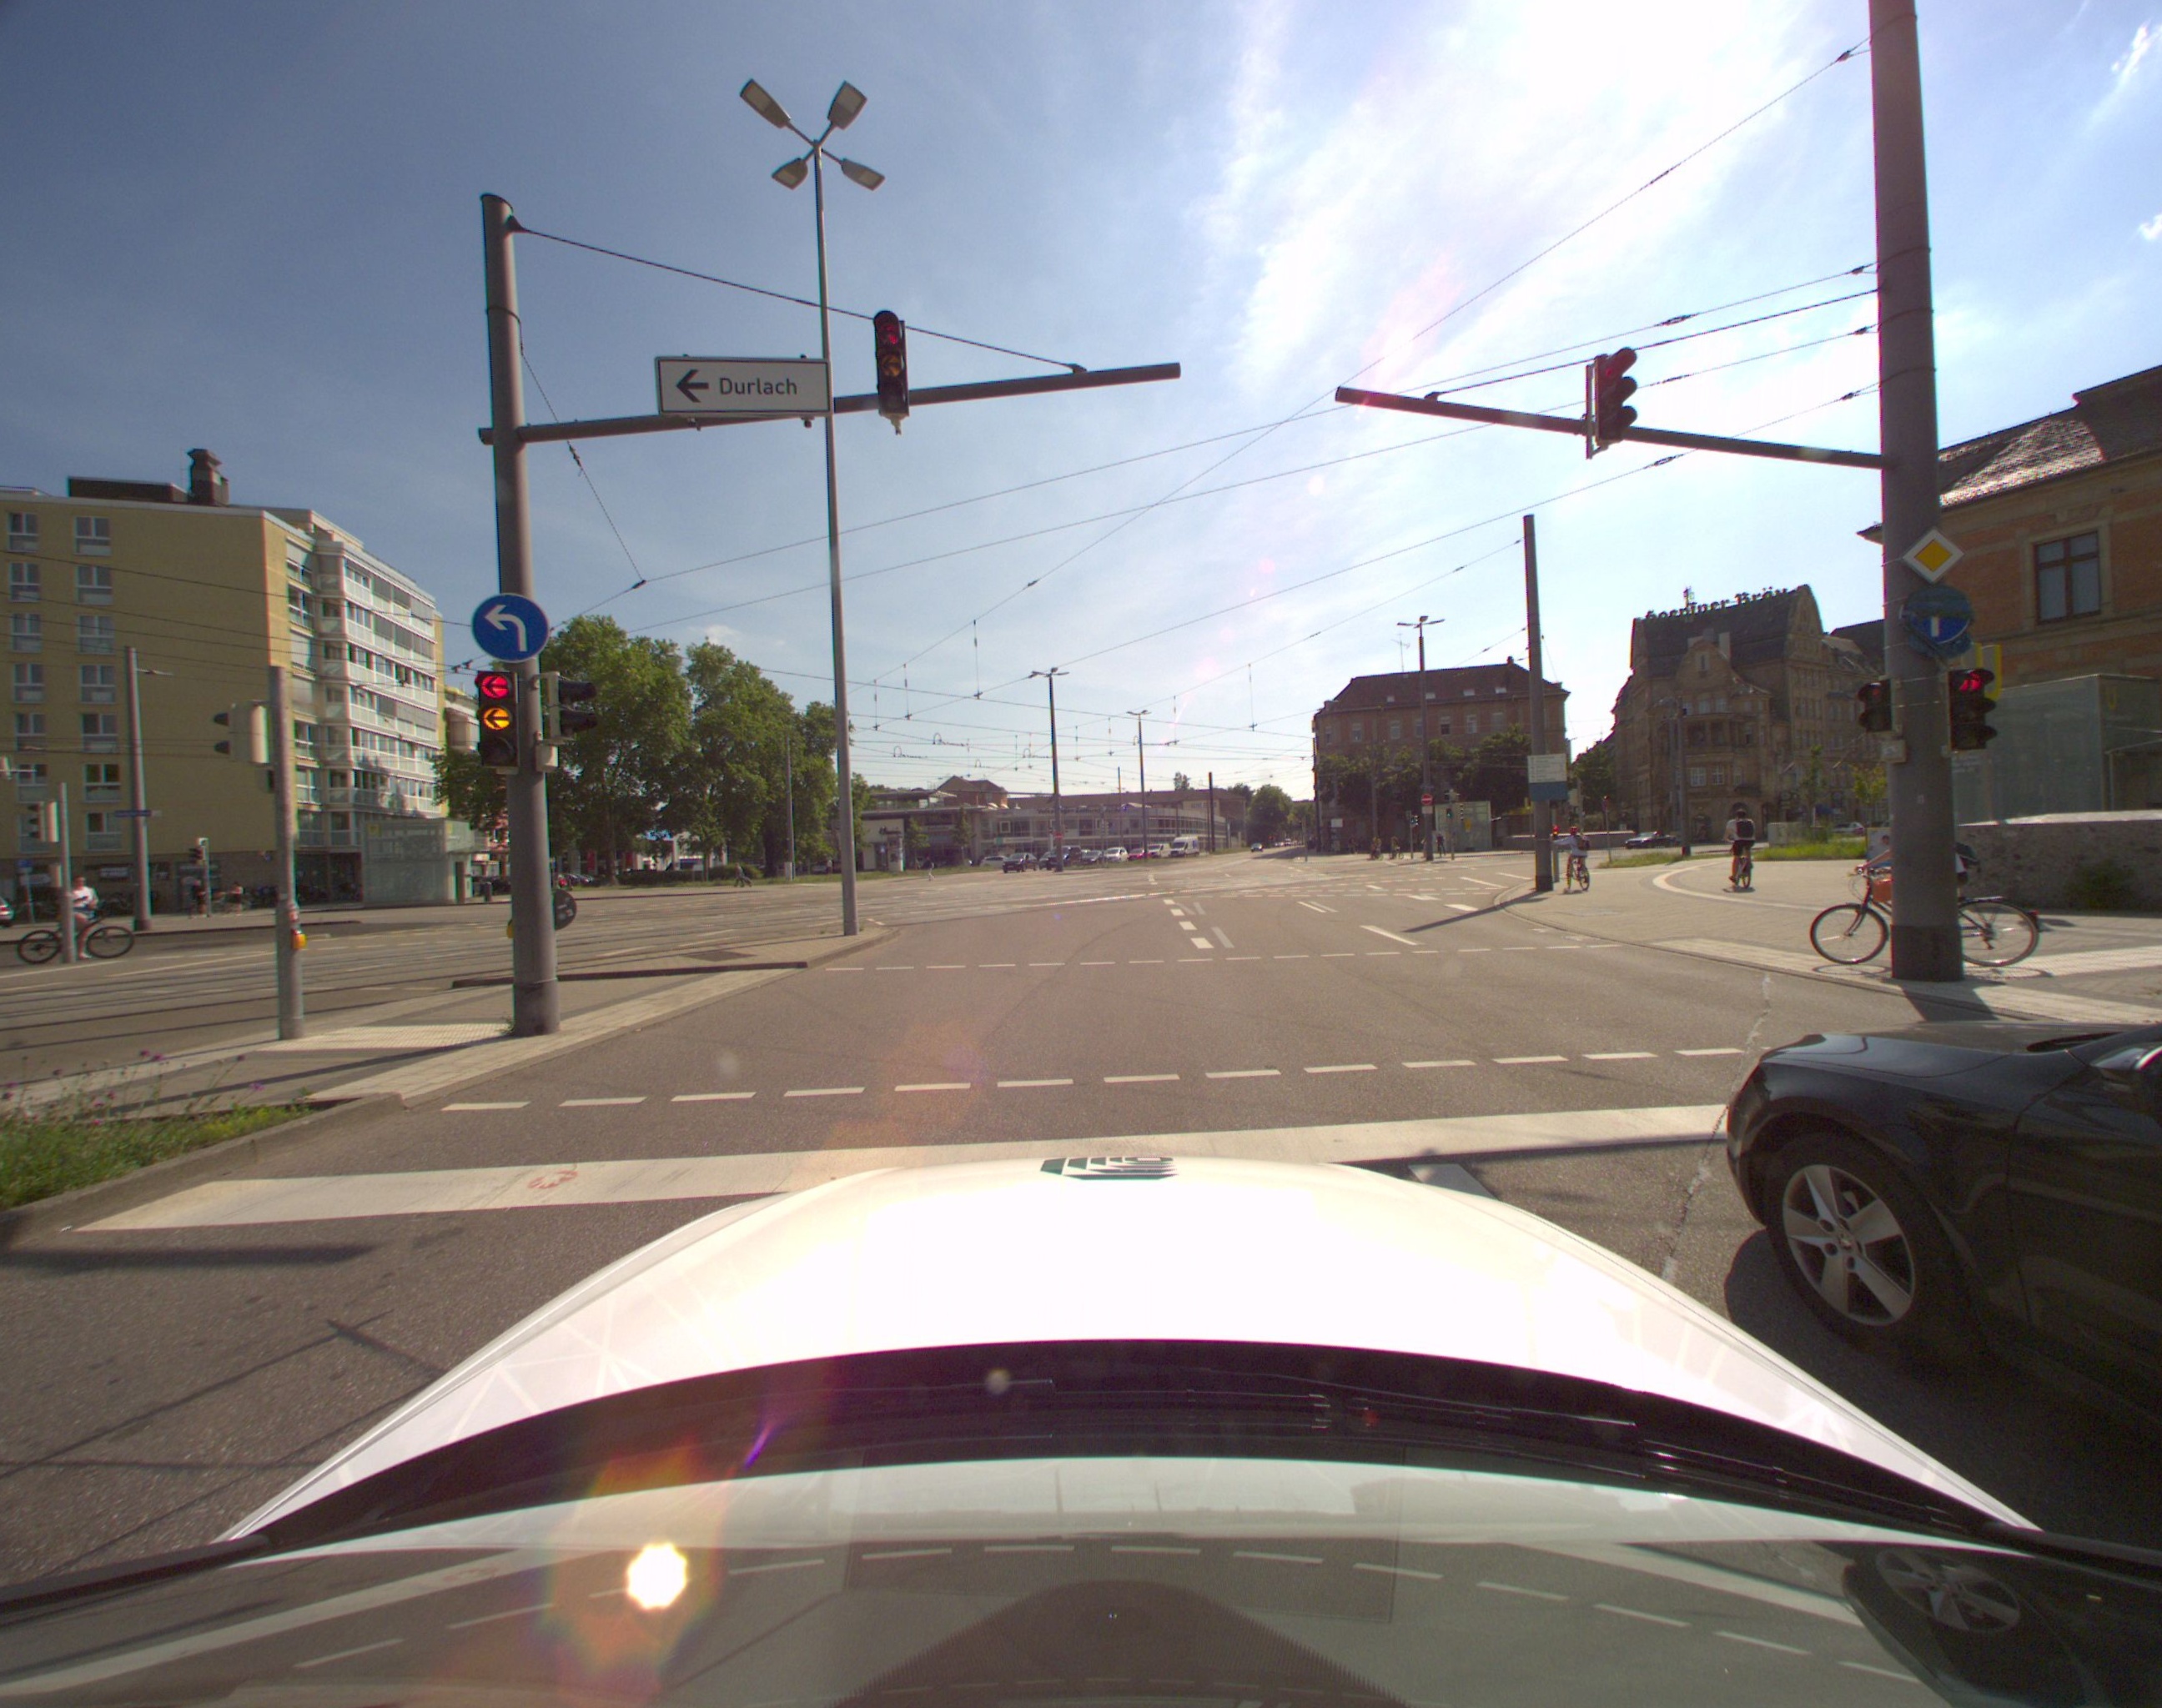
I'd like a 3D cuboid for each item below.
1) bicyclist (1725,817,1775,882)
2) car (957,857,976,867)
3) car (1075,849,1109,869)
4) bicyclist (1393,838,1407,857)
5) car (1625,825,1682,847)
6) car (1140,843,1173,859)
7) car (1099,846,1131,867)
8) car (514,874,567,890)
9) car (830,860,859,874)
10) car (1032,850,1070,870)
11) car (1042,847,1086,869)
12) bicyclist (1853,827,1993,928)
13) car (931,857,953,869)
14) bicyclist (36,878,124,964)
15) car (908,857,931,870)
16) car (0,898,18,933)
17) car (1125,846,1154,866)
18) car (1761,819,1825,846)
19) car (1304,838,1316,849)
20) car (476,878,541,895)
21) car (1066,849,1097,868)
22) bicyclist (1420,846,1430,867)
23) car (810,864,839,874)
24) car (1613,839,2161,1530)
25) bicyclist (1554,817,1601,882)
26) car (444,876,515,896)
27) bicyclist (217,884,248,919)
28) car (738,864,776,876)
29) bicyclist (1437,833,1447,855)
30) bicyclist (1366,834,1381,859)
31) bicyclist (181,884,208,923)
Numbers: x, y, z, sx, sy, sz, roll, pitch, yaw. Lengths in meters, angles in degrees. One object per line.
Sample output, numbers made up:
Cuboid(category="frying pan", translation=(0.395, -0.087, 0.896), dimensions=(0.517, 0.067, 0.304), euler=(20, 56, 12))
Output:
Cuboid(category="bicyclist", translation=(15.811, -0.093, 19.268), dimensions=(0.707, 1.488, 0.955), euler=(-1, -1, 26))
Cuboid(category="car", translation=(-14.097, 0.963, 100.494), dimensions=(1.824, 1.195, 4.000), euler=(0, 0, 1))
Cuboid(category="car", translation=(0.994, 0.460, 71.284), dimensions=(1.880, 1.588, 4.017), euler=(-3, -1, 16))
Cuboid(category="bicyclist", translation=(24.020, -0.483, 61.311), dimensions=(0.918, 1.451, 1.258), euler=(-1, 1, 21))
Cuboid(category="car", translation=(45.356, -1.407, 64.487), dimensions=(3.998, 1.584, 1.628), euler=(-2, 0, -18))
Cuboid(category="car", translation=(8.604, -0.321, 92.439), dimensions=(2.165, 1.680, 5.058), euler=(-3, 0, 24))
Cuboid(category="car", translation=(3.278, 0.283, 78.528), dimensions=(1.879, 1.917, 4.220), euler=(-3, -1, 19))
Cuboid(category="car", translation=(-49.706, 2.586, 74.977), dimensions=(3.729, 1.340, 1.735), euler=(0, -1, -15))
Cuboid(category="car", translation=(-29.628, 1.627, 102.119), dimensions=(1.983, 1.684, 4.008), euler=(0, -1, 7))
Cuboid(category="car", translation=(-2.574, 0.524, 71.018), dimensions=(1.879, 1.588, 4.019), euler=(-3, -1, 19))
Cuboid(category="car", translation=(-1.291, 0.315, 64.785), dimensions=(1.945, 1.587, 4.739), euler=(-2, 0, 19))
Cuboid(category="bicyclist", translation=(9.316, 0.260, 9.057), dimensions=(0.904, 1.029, 0.721), euler=(-5, -1, 35))
Cuboid(category="car", translation=(-17.258, 1.109, 100.958), dimensions=(1.987, 1.486, 4.000), euler=(0, 0, 0))
Cuboid(category="bicyclist", translation=(-20.922, 1.373, 17.038), dimensions=(0.774, 1.684, 0.749), euler=(-4, 0, -9))
Cuboid(category="car", translation=(-20.029, 1.184, 101.053), dimensions=(1.987, 1.486, 4.000), euler=(0, 0, 0))
Cuboid(category="car", translation=(-49.272, 2.828, 36.496), dimensions=(3.948, 1.440, 1.825), euler=(-5, -2, 35))
Cuboid(category="car", translation=(6.141, 0.225, 85.362), dimensions=(1.879, 1.917, 4.220), euler=(-3, -1, 19))
Cuboid(category="car", translation=(39.127, -1.180, 44.750), dimensions=(3.464, 1.313, 1.655), euler=(-2, 0, -32))
Cuboid(category="car", translation=(46.334, -2.148, 164.779), dimensions=(2.092, 2.013, 4.017), euler=(-2, 0, 16))
Cuboid(category="car", translation=(-47.307, 2.647, 67.377), dimensions=(3.994, 1.270, 1.735), euler=(0, -1, -15))
Cuboid(category="car", translation=(0.082, 0.450, 78.282), dimensions=(1.638, 1.739, 4.220), euler=(-3, -1, 19))
Cuboid(category="bicyclist", translation=(25.886, 0.196, 61.272), dimensions=(0.497, 1.621, 0.651), euler=(0, 0, 7))
Cuboid(category="car", translation=(-31.989, 1.860, 101.778), dimensions=(1.983, 1.244, 4.008), euler=(0, 0, 7))
Cuboid(category="car", translation=(3.038, 0.665, 1.029), dimensions=(1.625, 1.435, 4.779), euler=(-1, -1, 0))
Cuboid(category="bicyclist", translation=(13.532, -0.122, 22.217), dimensions=(0.710, 1.669, 0.877), euler=(-5, -1, 10))
Cuboid(category="car", translation=(-46.436, 2.434, 62.952), dimensions=(3.994, 1.440, 1.881), euler=(0, -1, -15))
Cuboid(category="bicyclist", translation=(-39.244, 2.199, 37.688), dimensions=(0.728, 1.572, 0.613), euler=(-3, -1, 2))
Cuboid(category="car", translation=(-40.973, 2.028, 102.942), dimensions=(3.973, 1.371, 2.000), euler=(0, 0, 1))
Cuboid(category="bicyclist", translation=(27.069, -0.757, 61.014), dimensions=(0.661, 1.624, 0.787), euler=(-1, 0, 24))
Cuboid(category="bicyclist", translation=(22.076, -0.573, 61.433), dimensions=(0.920, 1.820, 1.056), euler=(-1, -1, 13))
Cuboid(category="bicyclist", translation=(-40.789, 2.257, 37.488), dimensions=(0.584, 1.735, 0.613), euler=(-3, -1, -22))
